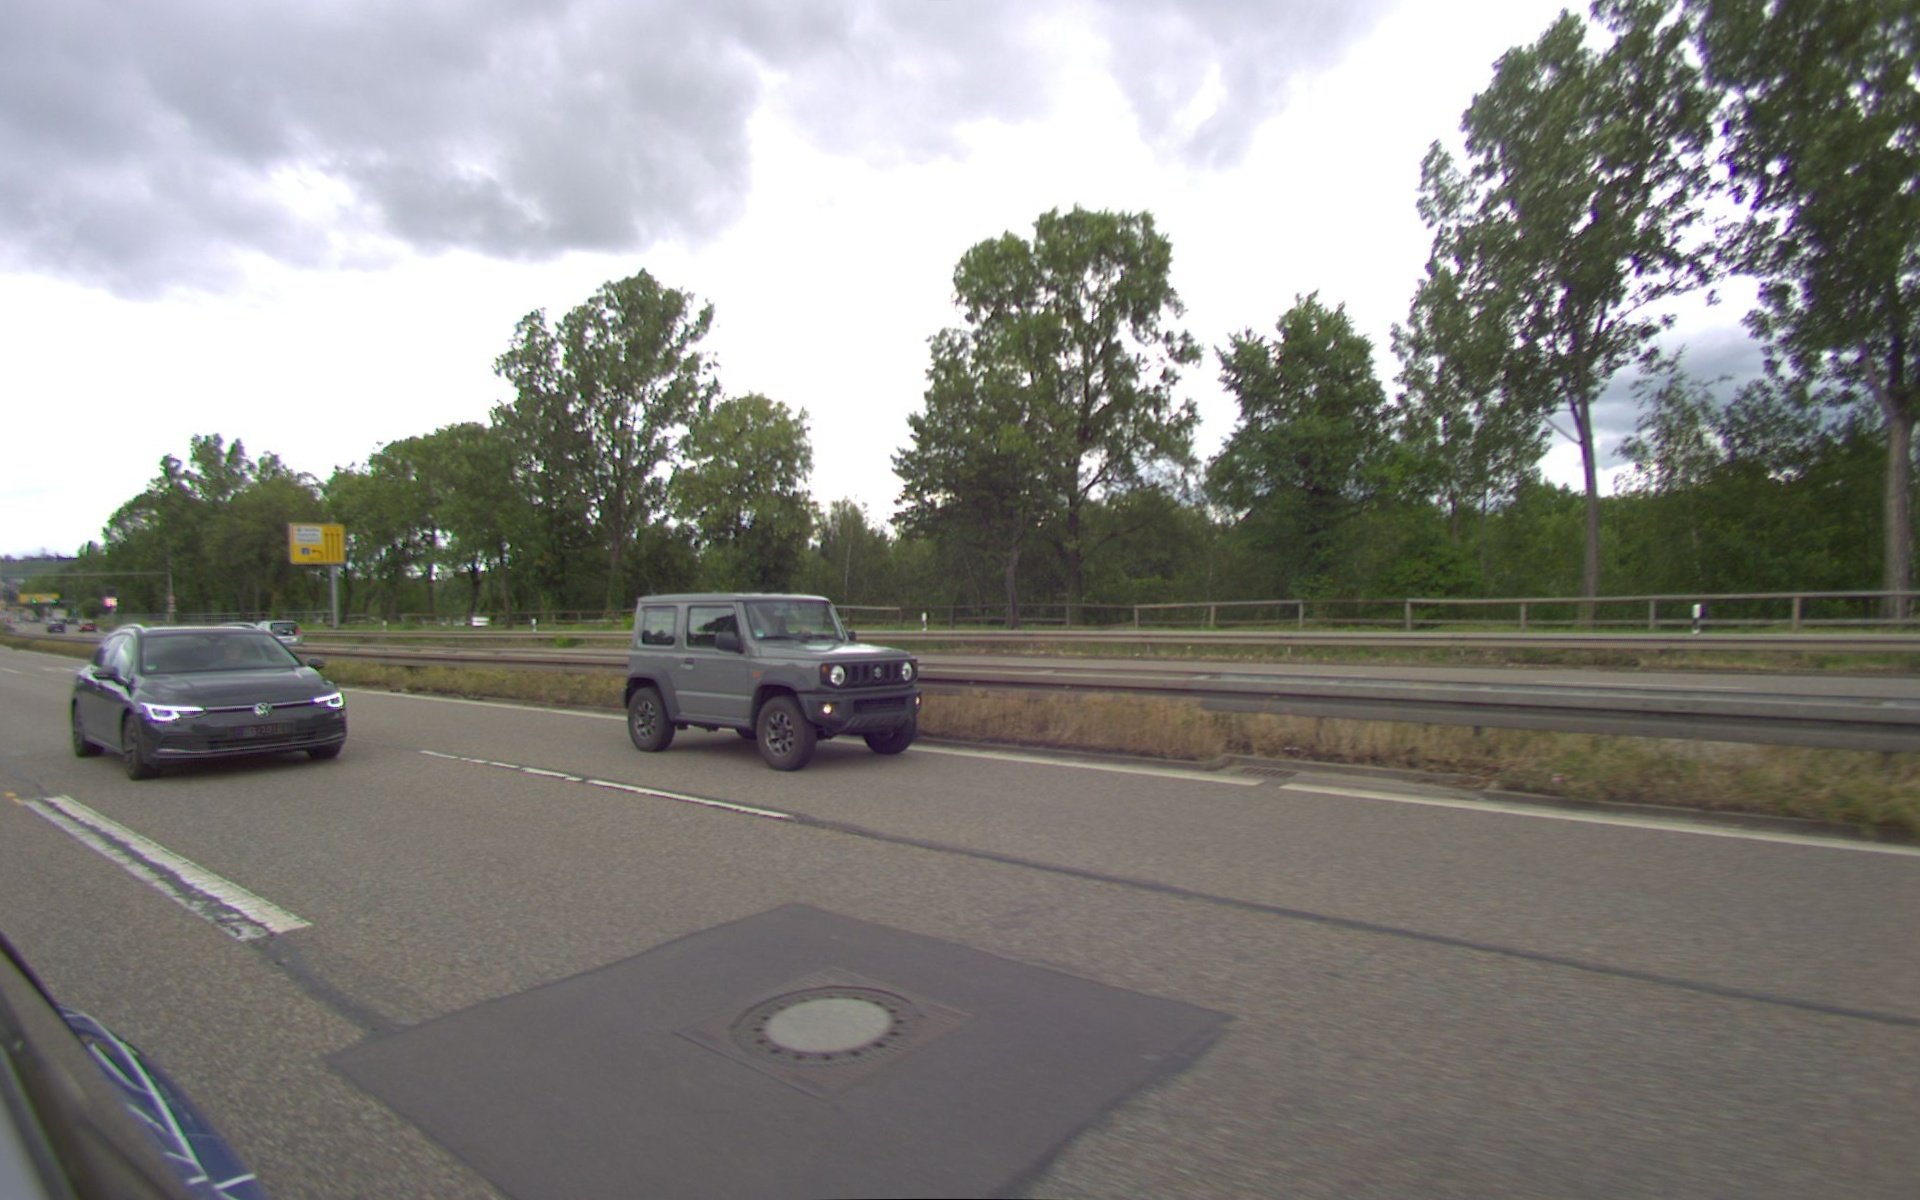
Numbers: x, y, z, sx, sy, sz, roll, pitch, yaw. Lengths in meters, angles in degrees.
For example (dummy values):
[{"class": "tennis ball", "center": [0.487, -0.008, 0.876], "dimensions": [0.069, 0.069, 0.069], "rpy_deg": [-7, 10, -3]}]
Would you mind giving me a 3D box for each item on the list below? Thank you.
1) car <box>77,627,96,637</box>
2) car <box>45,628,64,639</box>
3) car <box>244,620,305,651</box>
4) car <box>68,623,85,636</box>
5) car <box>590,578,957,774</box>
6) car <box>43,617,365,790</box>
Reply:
[{"class": "car", "center": [-126.170, 4.619, 146.144], "dimensions": [4.381, 1.476, 1.699], "rpy_deg": [-2, -1, 44]}, {"class": "car", "center": [-125.757, 4.613, 140.530], "dimensions": [3.912, 1.435, 1.642], "rpy_deg": [-2, -1, 44]}, {"class": "car", "center": [-33.903, 1.750, 50.017], "dimensions": [3.731, 1.396, 1.597], "rpy_deg": [-2, 0, 42]}, {"class": "car", "center": [-136.646, 4.577, 156.540], "dimensions": [4.562, 1.898, 1.593], "rpy_deg": [-2, -1, 44]}, {"class": "car", "center": [-2.090, 0.719, 10.693], "dimensions": [3.997, 1.699, 1.680], "rpy_deg": [-2, -2, 40]}, {"class": "car", "center": [-8.476, 0.980, 11.156], "dimensions": [4.898, 1.434, 1.826], "rpy_deg": [-2, 1, 41]}]
